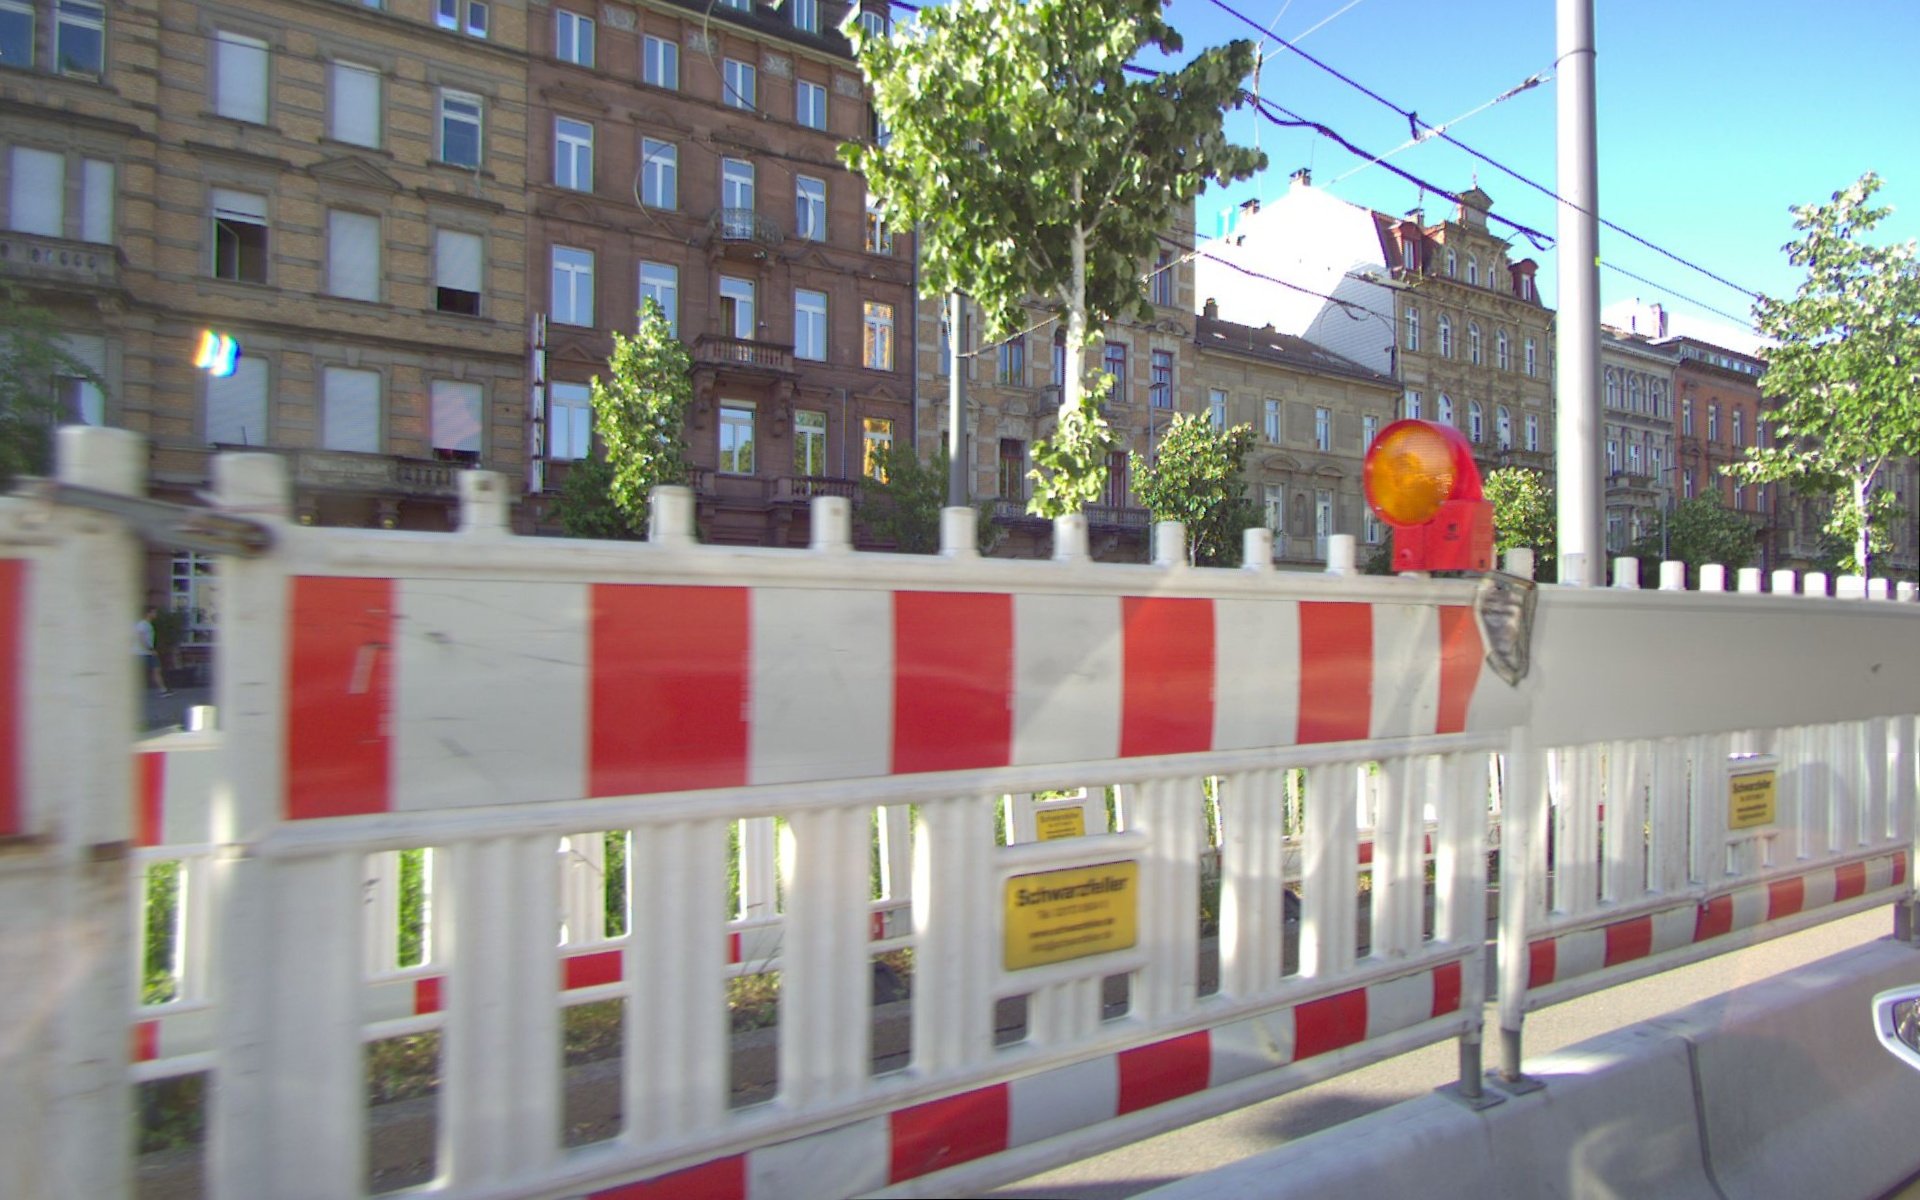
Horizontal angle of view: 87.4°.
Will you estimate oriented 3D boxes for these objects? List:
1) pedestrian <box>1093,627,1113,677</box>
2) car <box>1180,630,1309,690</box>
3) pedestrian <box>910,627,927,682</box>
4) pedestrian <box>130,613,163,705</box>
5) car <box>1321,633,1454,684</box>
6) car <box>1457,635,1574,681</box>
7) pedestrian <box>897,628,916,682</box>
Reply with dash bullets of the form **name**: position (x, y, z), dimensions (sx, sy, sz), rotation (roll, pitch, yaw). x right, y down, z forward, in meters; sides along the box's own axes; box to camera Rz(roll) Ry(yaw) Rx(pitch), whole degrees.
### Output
- **pedestrian**: position (4.702, 1.712, 33.041), dimensions (0.431, 1.606, 0.457), rotation (1, 0, -36)
- **car**: position (8.545, 1.749, 30.107), dimensions (3.763, 1.697, 1.559), rotation (1, -2, -30)
- **pedestrian**: position (-1.231, 1.604, 29.694), dimensions (0.335, 1.606, 0.427), rotation (1, 0, -29)
- **pedestrian**: position (-16.080, 1.155, 19.856), dimensions (0.401, 1.788, 0.505), rotation (1, 0, -29)
- **car**: position (14.245, 1.910, 33.390), dimensions (4.658, 1.583, 1.559), rotation (1, -2, -30)
- **car**: position (20.223, 2.068, 36.534), dimensions (4.659, 1.583, 1.559), rotation (1, -2, -30)
- **pedestrian**: position (-1.616, 1.641, 30.298), dimensions (0.381, 1.606, 0.431), rotation (1, 0, -32)
